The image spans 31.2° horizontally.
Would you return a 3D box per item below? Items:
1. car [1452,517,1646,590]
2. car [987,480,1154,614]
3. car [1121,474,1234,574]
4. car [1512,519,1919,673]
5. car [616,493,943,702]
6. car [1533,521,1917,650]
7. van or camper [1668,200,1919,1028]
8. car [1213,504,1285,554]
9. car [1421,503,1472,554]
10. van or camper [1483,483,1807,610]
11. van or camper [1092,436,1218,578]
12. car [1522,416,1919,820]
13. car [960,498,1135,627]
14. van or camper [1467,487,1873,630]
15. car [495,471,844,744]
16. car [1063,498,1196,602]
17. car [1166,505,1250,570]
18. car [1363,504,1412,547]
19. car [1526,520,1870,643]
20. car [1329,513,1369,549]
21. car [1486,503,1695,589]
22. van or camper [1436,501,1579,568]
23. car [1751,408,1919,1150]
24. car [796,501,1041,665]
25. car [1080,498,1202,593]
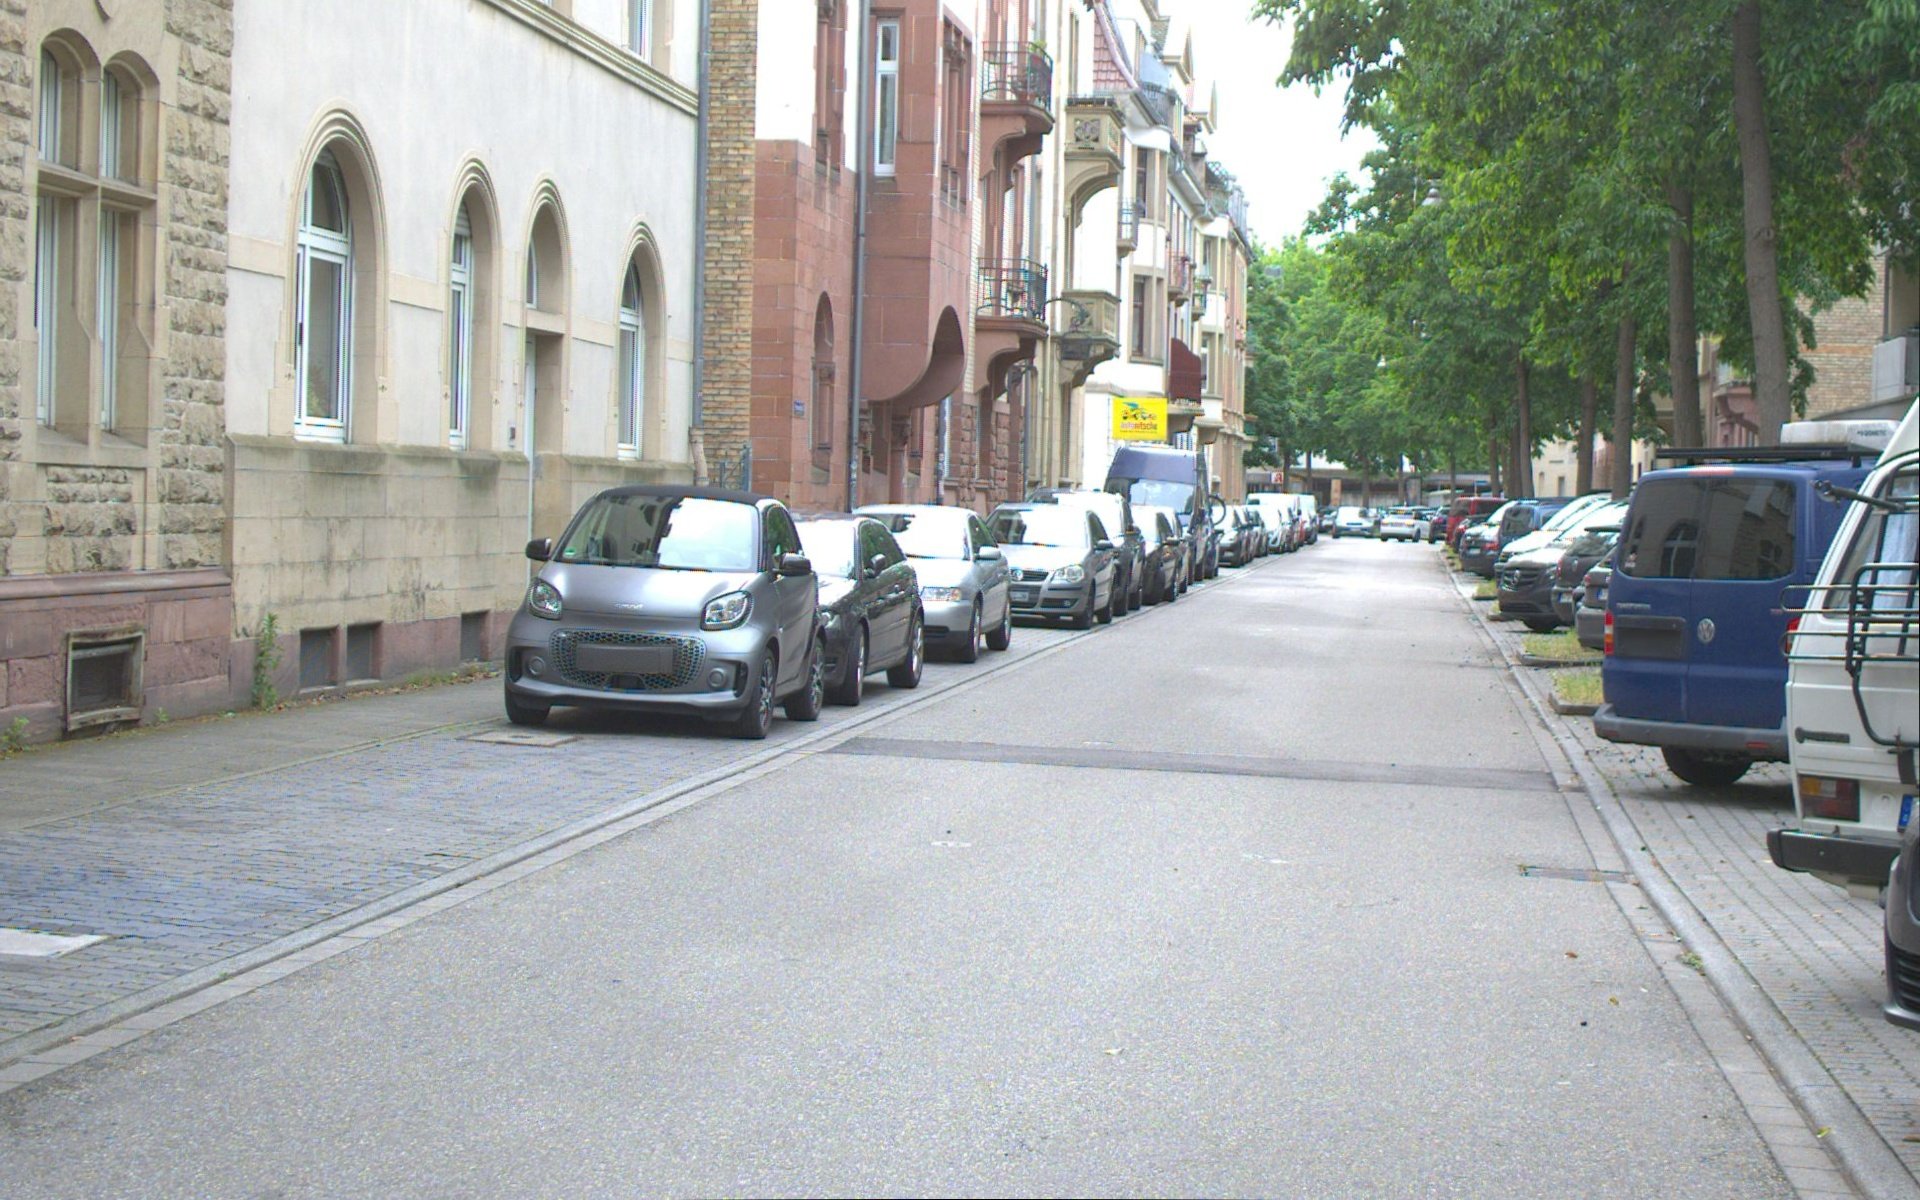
[{"bbox_3d":[13.632,-1.078,79.580,4.009,1.554,1.885,1,2,-23],"label":"car"},{"bbox_3d":[1.563,-0.762,47.128,1.787,1.641,4.360,3,2,7],"label":"car"},{"bbox_3d":[4.689,-1.637,73.507,1.994,2.006,4.890,2,2,8],"label":"car"},{"bbox_3d":[8.033,-0.077,35.380,4.212,1.495,1.976,-1,1,-19],"label":"car"},{"bbox_3d":[-1.296,-0.033,26.322,1.727,1.382,3.928,3,1,8],"label":"car"},{"bbox_3d":[9.119,-0.188,41.070,4.038,1.478,1.948,0,1,-18],"label":"car"},{"bbox_3d":[4.969,0.055,11.966,4.580,2.587,1.912,1,2,-25],"label":"van or camper"},{"bbox_3d":[9.006,-2.229,106.961,1.994,1.470,3.999,2,2,8],"label":"car"},{"bbox_3d":[21.162,-3.127,149.626,1.994,2.006,3.999,5,2,7],"label":"car"},{"bbox_3d":[10.999,-0.839,55.267,4.728,1.987,2.000,0,0,-17],"label":"van or camper"},{"bbox_3d":[3.895,-1.838,67.858,2.009,2.642,5.314,2,2,8],"label":"van or camper"},{"bbox_3d":[5.735,0.062,20.734,4.385,2.189,2.067,0,2,-36],"label":"car"},{"bbox_3d":[1.118,-0.499,42.071,1.663,1.416,3.928,3,2,7],"label":"car"},{"bbox_3d":[9.626,-0.582,46.661,5.004,1.863,2.128,0,1,-20],"label":"van or camper"},{"bbox_3d":[-1.840,-0.011,22.560,1.647,1.565,2.956,3,3,7],"label":"car"},{"bbox_3d":[2.659,-0.799,53.269,1.635,1.468,3.999,3,2,8],"label":"car"},{"bbox_3d":[6.102,-1.540,84.233,1.790,1.475,4.021,3,2,7],"label":"car"},{"bbox_3d":[19.152,-3.337,154.132,1.994,1.787,3.999,3,1,6],"label":"car"},{"bbox_3d":[9.377,-0.246,43.726,3.848,1.497,1.913,0,1,-21],"label":"car"},{"bbox_3d":[18.953,-3.358,167.551,1.821,1.639,3.753,3,1,7],"label":"car"},{"bbox_3d":[14.057,-1.210,76.660,4.170,1.863,2.001,-1,1,-22],"label":"car"},{"bbox_3d":[17.974,-2.144,112.879,4.145,2.078,1.953,1,2,-20],"label":"van or camper"},{"bbox_3d":[4.524,0.486,9.039,4.330,1.847,1.912,1,2,-17],"label":"car"},{"bbox_3d":[-0.335,-0.218,33.230,1.727,1.381,4.136,3,2,7],"label":"car"},{"bbox_3d":[3.100,-0.904,58.211,1.668,1.468,3.999,3,1,8],"label":"car"}]
